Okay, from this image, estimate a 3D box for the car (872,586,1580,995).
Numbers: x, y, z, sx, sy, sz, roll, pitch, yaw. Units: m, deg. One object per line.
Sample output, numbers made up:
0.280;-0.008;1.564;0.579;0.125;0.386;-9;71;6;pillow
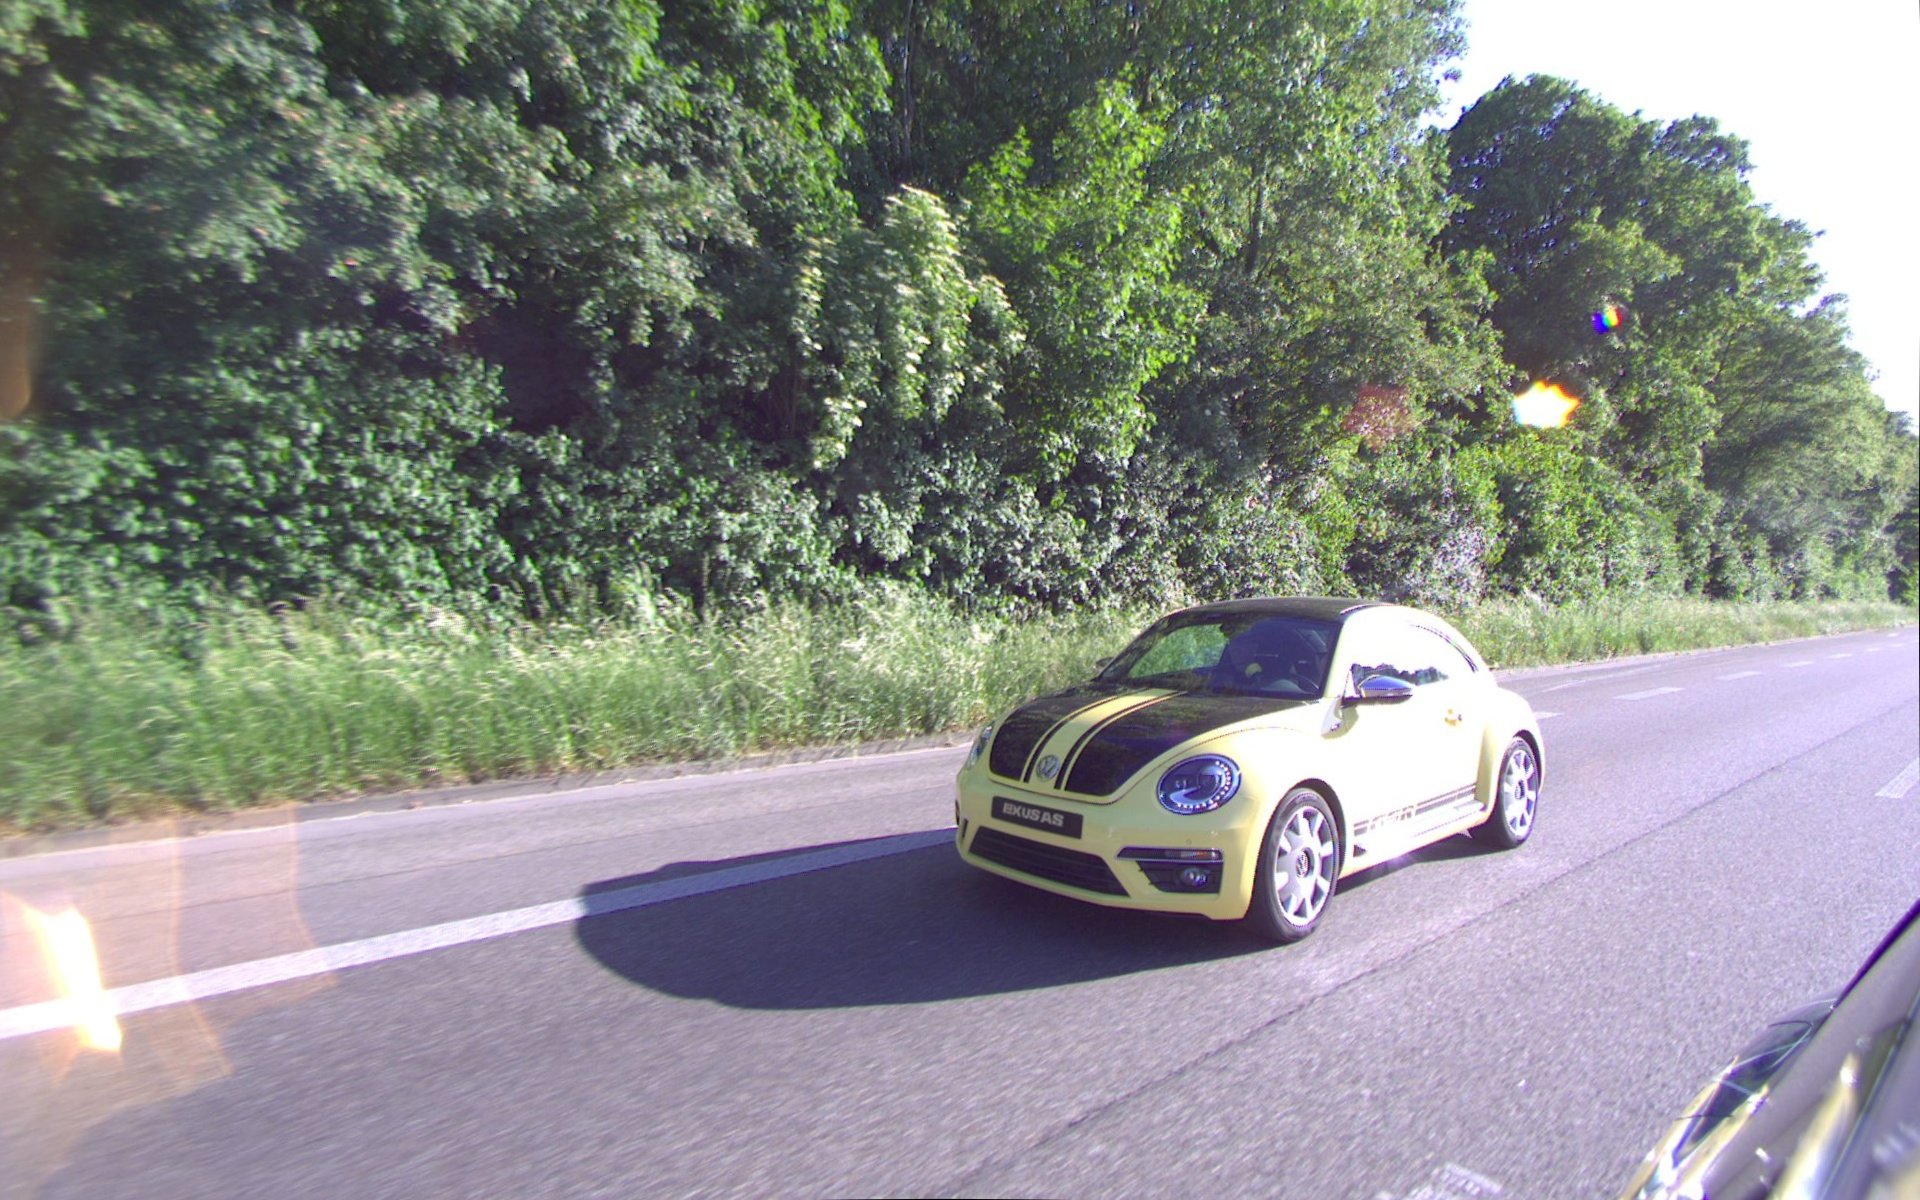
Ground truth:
1.776;0.679;5.814;4.280;1.480;1.882;0;1;-41;car
